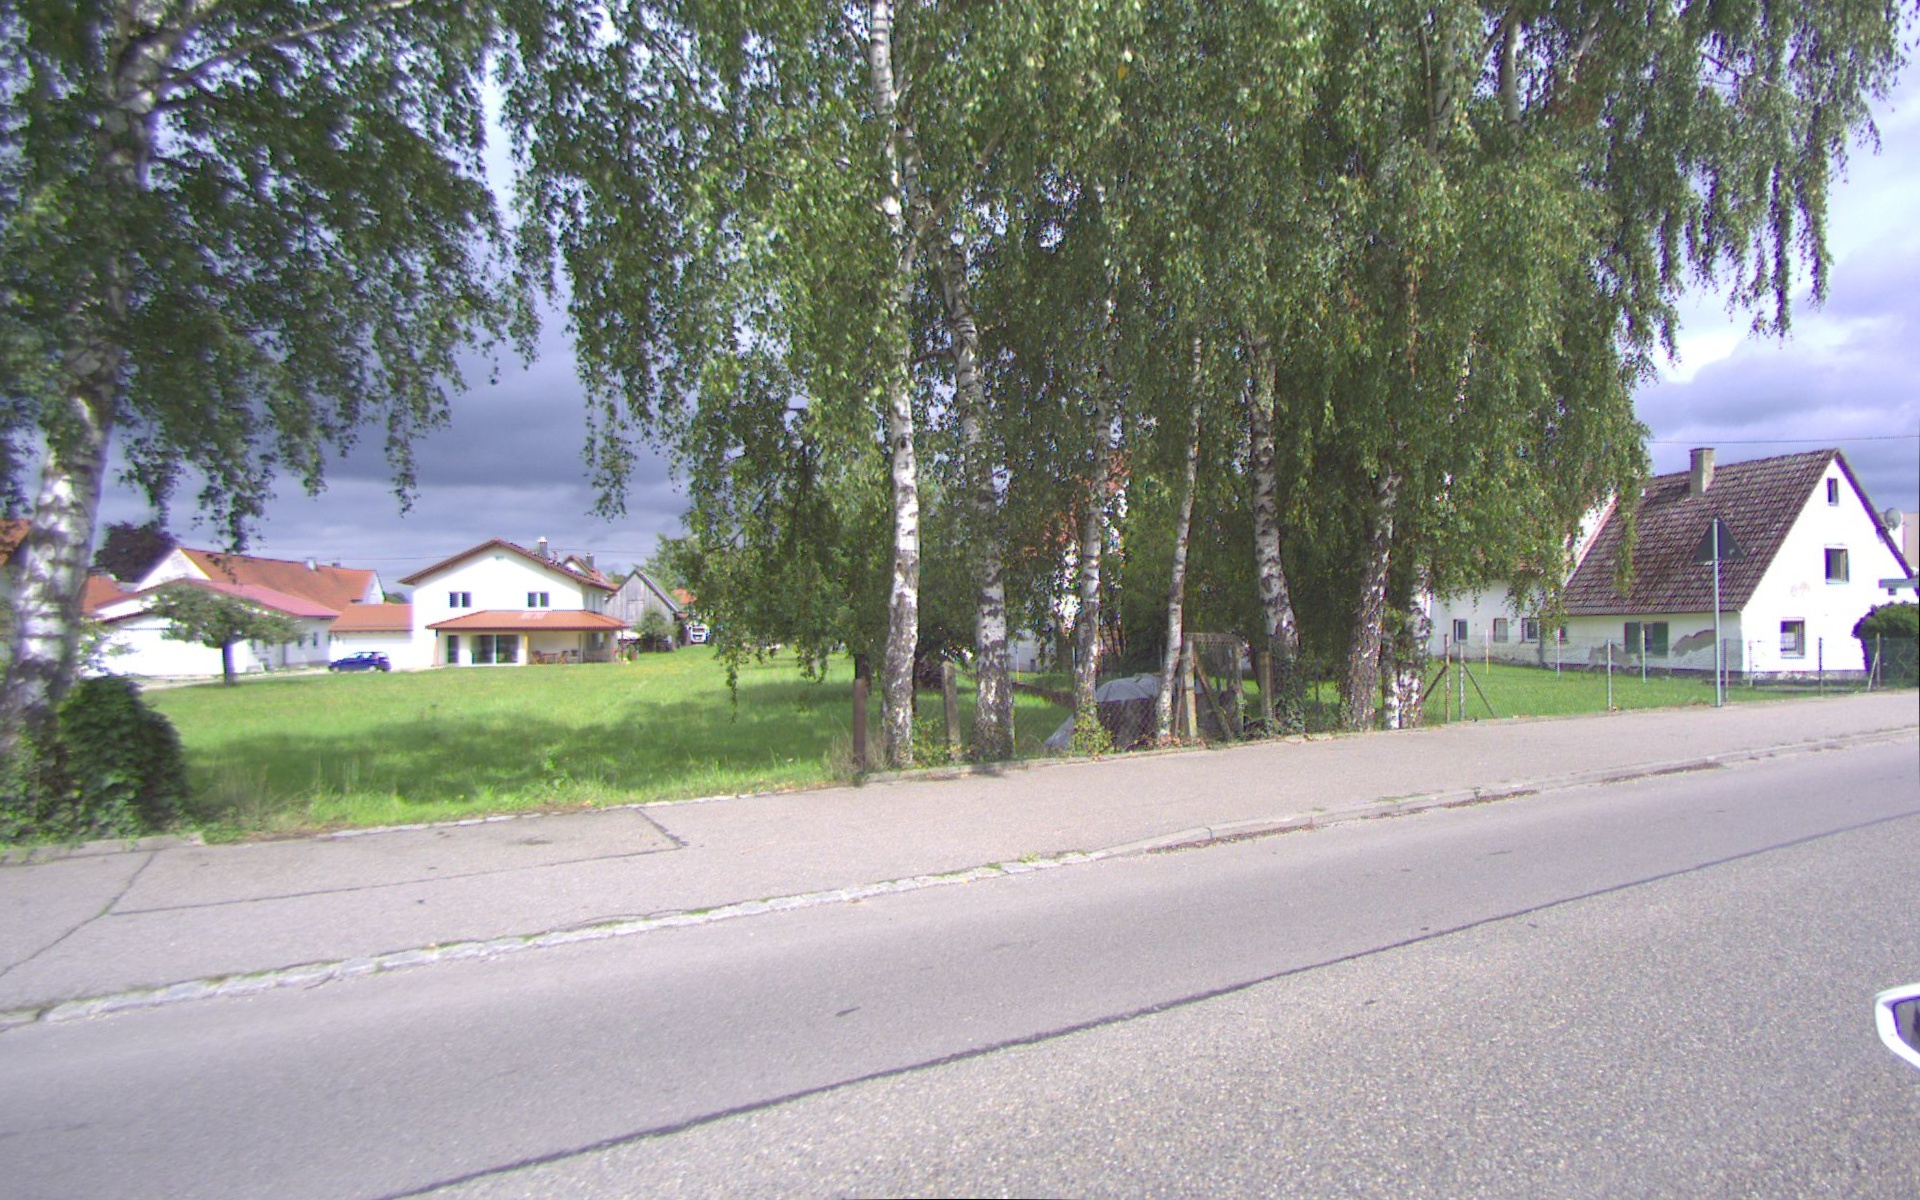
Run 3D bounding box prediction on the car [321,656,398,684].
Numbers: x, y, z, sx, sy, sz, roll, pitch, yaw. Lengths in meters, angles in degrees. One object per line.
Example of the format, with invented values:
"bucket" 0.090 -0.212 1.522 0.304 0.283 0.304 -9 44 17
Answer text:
"car" -39.758 4.622 66.528 3.920 1.742 2.001 -1 -2 3
